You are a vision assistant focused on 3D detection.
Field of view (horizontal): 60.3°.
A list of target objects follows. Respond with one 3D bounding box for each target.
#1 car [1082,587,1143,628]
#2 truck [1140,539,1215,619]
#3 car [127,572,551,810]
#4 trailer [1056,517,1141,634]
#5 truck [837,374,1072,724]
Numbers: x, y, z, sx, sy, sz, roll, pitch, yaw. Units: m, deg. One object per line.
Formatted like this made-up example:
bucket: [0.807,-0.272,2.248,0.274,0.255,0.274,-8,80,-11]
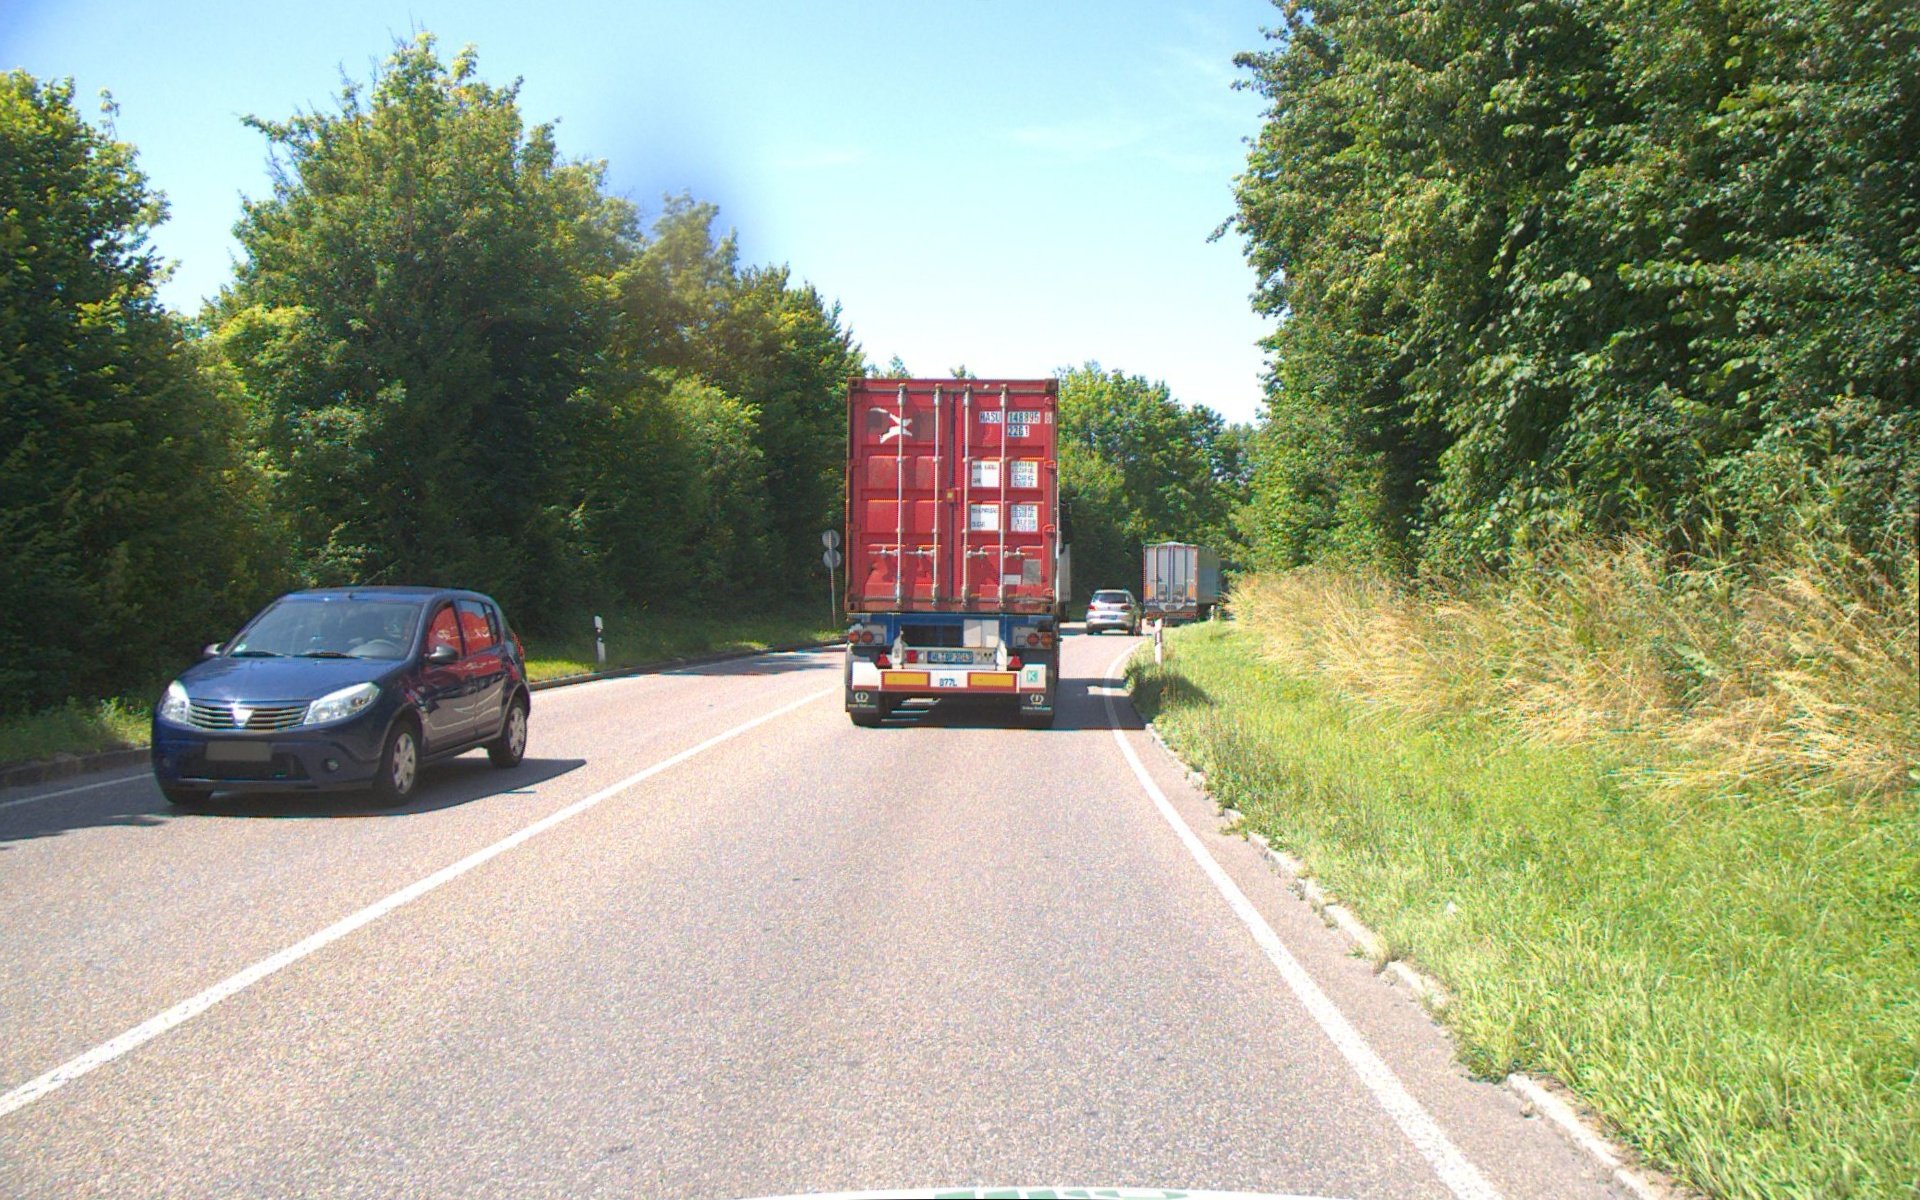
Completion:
car: [5.802,0.290,62.563,1.793,1.458,4.003,-2,0,12]
truck: [11.232,-1.029,84.304,2.859,3.782,13.371,0,0,12]
car: [-4.615,0.589,12.974,1.648,1.556,4.071,0,0,2]
trailer: [5.674,-0.893,66.112,2.859,4.256,11.273,0,0,7]
truck: [0.296,-0.561,25.090,2.592,3.873,13.364,0,0,3]
